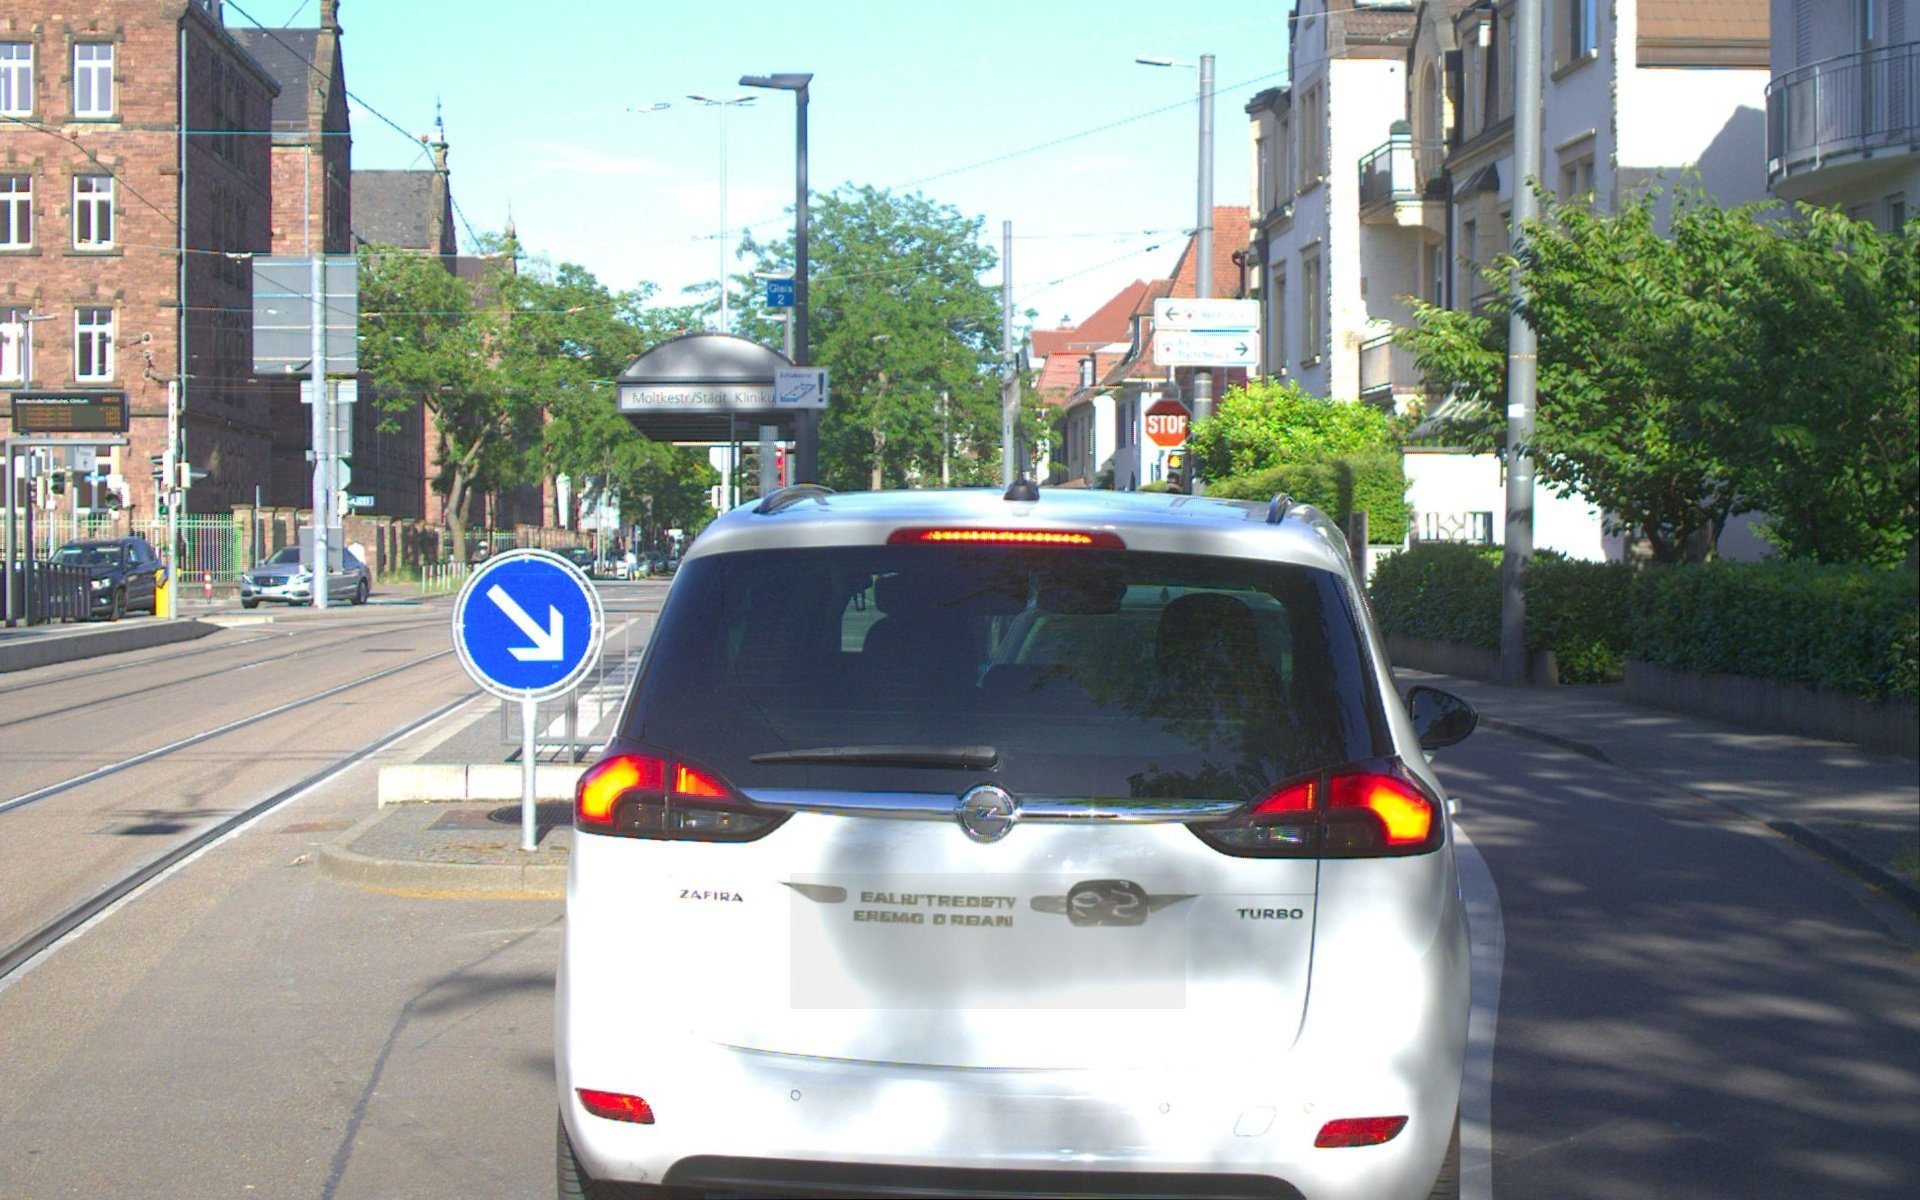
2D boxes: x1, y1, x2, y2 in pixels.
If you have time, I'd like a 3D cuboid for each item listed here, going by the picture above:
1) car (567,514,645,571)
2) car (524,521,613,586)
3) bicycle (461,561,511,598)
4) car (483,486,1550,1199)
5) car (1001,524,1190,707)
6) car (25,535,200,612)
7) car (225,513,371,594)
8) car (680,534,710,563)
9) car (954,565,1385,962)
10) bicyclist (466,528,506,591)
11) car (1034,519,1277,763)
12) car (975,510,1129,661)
[{"bbox_3d":[-12.723,-2.045,123.794,1.994,2.007,3.999,1,1,6],"label":"car"},{"bbox_3d":[-12.420,-1.469,109.293,1.994,2.007,3.999,1,1,6],"label":"car"},{"bbox_3d":[-12.784,-0.557,92.743,0.726,0.962,2.059,1,2,10],"label":"bicycle"},{"bbox_3d":[0.258,0.561,8.079,1.878,1.579,3.999,1,1,5],"label":"car"},{"bbox_3d":[1.274,0.107,33.757,1.596,1.629,3.901,2,1,-1],"label":"car"},{"bbox_3d":[-16.468,-0.511,67.017,1.827,1.441,4.326,1,0,8],"label":"car"},{"bbox_3d":[-15.040,-1.026,78.302,1.828,1.782,4.325,1,0,10],"label":"car"},{"bbox_3d":[-18.792,-3.651,243.691,1.993,2.007,4.001,1,1,-6],"label":"car"},{"bbox_3d":[0.947,0.592,14.779,1.569,1.396,3.783,2,1,5],"label":"car"},{"bbox_3d":[-12.784,-1.094,92.729,0.726,1.682,1.169,1,2,10],"label":"bicyclist"},{"bbox_3d":[1.369,0.239,25.316,1.569,1.609,3.784,2,1,1],"label":"car"},{"bbox_3d":[1.031,-0.213,40.320,1.596,1.629,3.902,2,1,-1],"label":"car"}]
